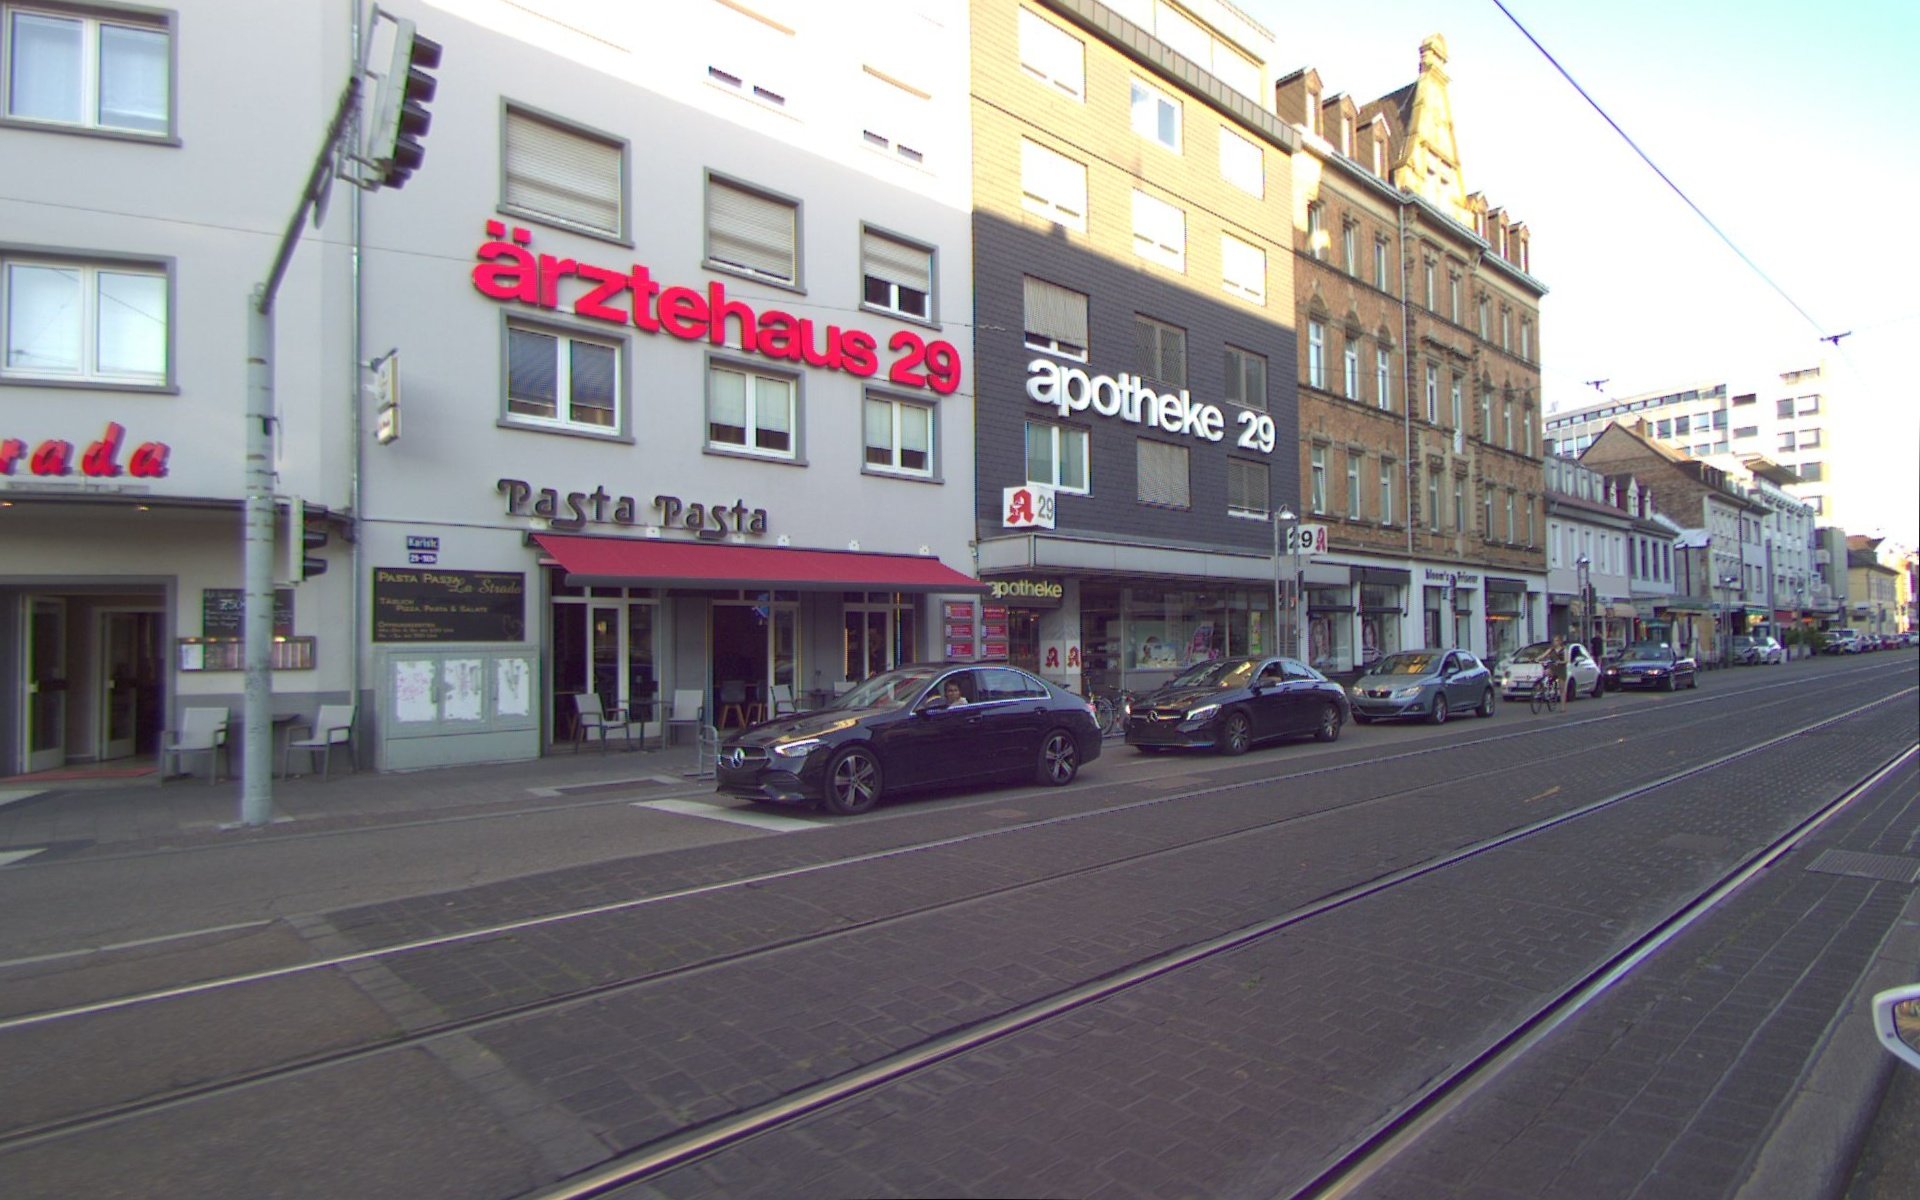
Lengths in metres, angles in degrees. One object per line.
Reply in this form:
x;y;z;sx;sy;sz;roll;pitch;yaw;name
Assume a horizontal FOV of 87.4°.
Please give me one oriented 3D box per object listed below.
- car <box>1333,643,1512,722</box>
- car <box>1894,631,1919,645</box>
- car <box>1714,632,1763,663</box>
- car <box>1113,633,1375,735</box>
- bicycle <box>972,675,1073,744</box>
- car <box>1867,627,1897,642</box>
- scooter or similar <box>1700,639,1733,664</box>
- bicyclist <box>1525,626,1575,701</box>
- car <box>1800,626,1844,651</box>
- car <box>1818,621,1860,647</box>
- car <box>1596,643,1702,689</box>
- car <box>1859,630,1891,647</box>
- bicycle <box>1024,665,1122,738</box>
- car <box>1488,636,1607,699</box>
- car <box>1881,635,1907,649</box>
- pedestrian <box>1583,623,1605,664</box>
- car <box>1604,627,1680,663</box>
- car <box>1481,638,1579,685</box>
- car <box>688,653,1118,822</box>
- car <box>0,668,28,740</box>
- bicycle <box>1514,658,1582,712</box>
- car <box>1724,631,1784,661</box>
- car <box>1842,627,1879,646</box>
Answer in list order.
9.406;1.636;20.306;4.030;1.404;1.744;1;-6;-42;car
104.761;4.168;111.178;3.864;1.468;1.774;1;-1;-43;car
40.554;2.428;52.295;2.792;1.524;1.577;1;-1;-43;car
4.697;1.304;16.263;4.528;1.404;1.899;1;-6;-42;car
1.051;1.853;17.301;0.602;0.996;1.839;1;0;-41;bicycle
86.800;3.198;94.569;3.864;1.357;1.774;1;-1;-43;car
37.887;2.566;50.335;0.291;1.221;1.303;1;-1;-40;scooter or similar
12.752;1.365;21.702;0.793;1.586;0.687;1;-3;-43;bicyclist
63.134;2.789;73.511;4.396;1.786;1.900;1;-1;-42;car
69.061;2.686;78.910;4.805;1.961;1.900;1;-1;-42;car
20.857;1.969;30.344;4.242;1.243;1.652;1;-6;-43;car
80.022;3.337;87.825;3.864;1.357;1.774;1;-1;-43;car
2.041;1.811;18.313;0.602;1.149;1.839;1;0;-41;bicycle
15.603;1.763;26.624;3.653;1.525;1.652;1;-6;-43;car
99.972;4.469;107.535;3.864;1.468;1.774;1;-1;-43;car
28.428;1.949;45.043;0.848;1.796;0.642;1;-1;-41;pedestrian
28.324;1.824;41.666;3.835;1.408;1.719;1;-1;-42;car
19.163;2.000;33.697;4.245;1.408;1.742;2;-1;-44;car
-0.467;1.372;11.098;4.528;1.404;1.899;1;-6;-42;car
-19.328;1.959;18.194;1.891;1.404;4.366;1;-3;-18;car
12.652;1.801;21.585;2.067;1.047;0.687;1;-3;-44;bicycle
43.815;2.486;55.381;4.805;1.524;1.833;1;-1;-42;car
75.185;3.043;83.855;4.597;1.541;1.899;1;-1;-43;car
